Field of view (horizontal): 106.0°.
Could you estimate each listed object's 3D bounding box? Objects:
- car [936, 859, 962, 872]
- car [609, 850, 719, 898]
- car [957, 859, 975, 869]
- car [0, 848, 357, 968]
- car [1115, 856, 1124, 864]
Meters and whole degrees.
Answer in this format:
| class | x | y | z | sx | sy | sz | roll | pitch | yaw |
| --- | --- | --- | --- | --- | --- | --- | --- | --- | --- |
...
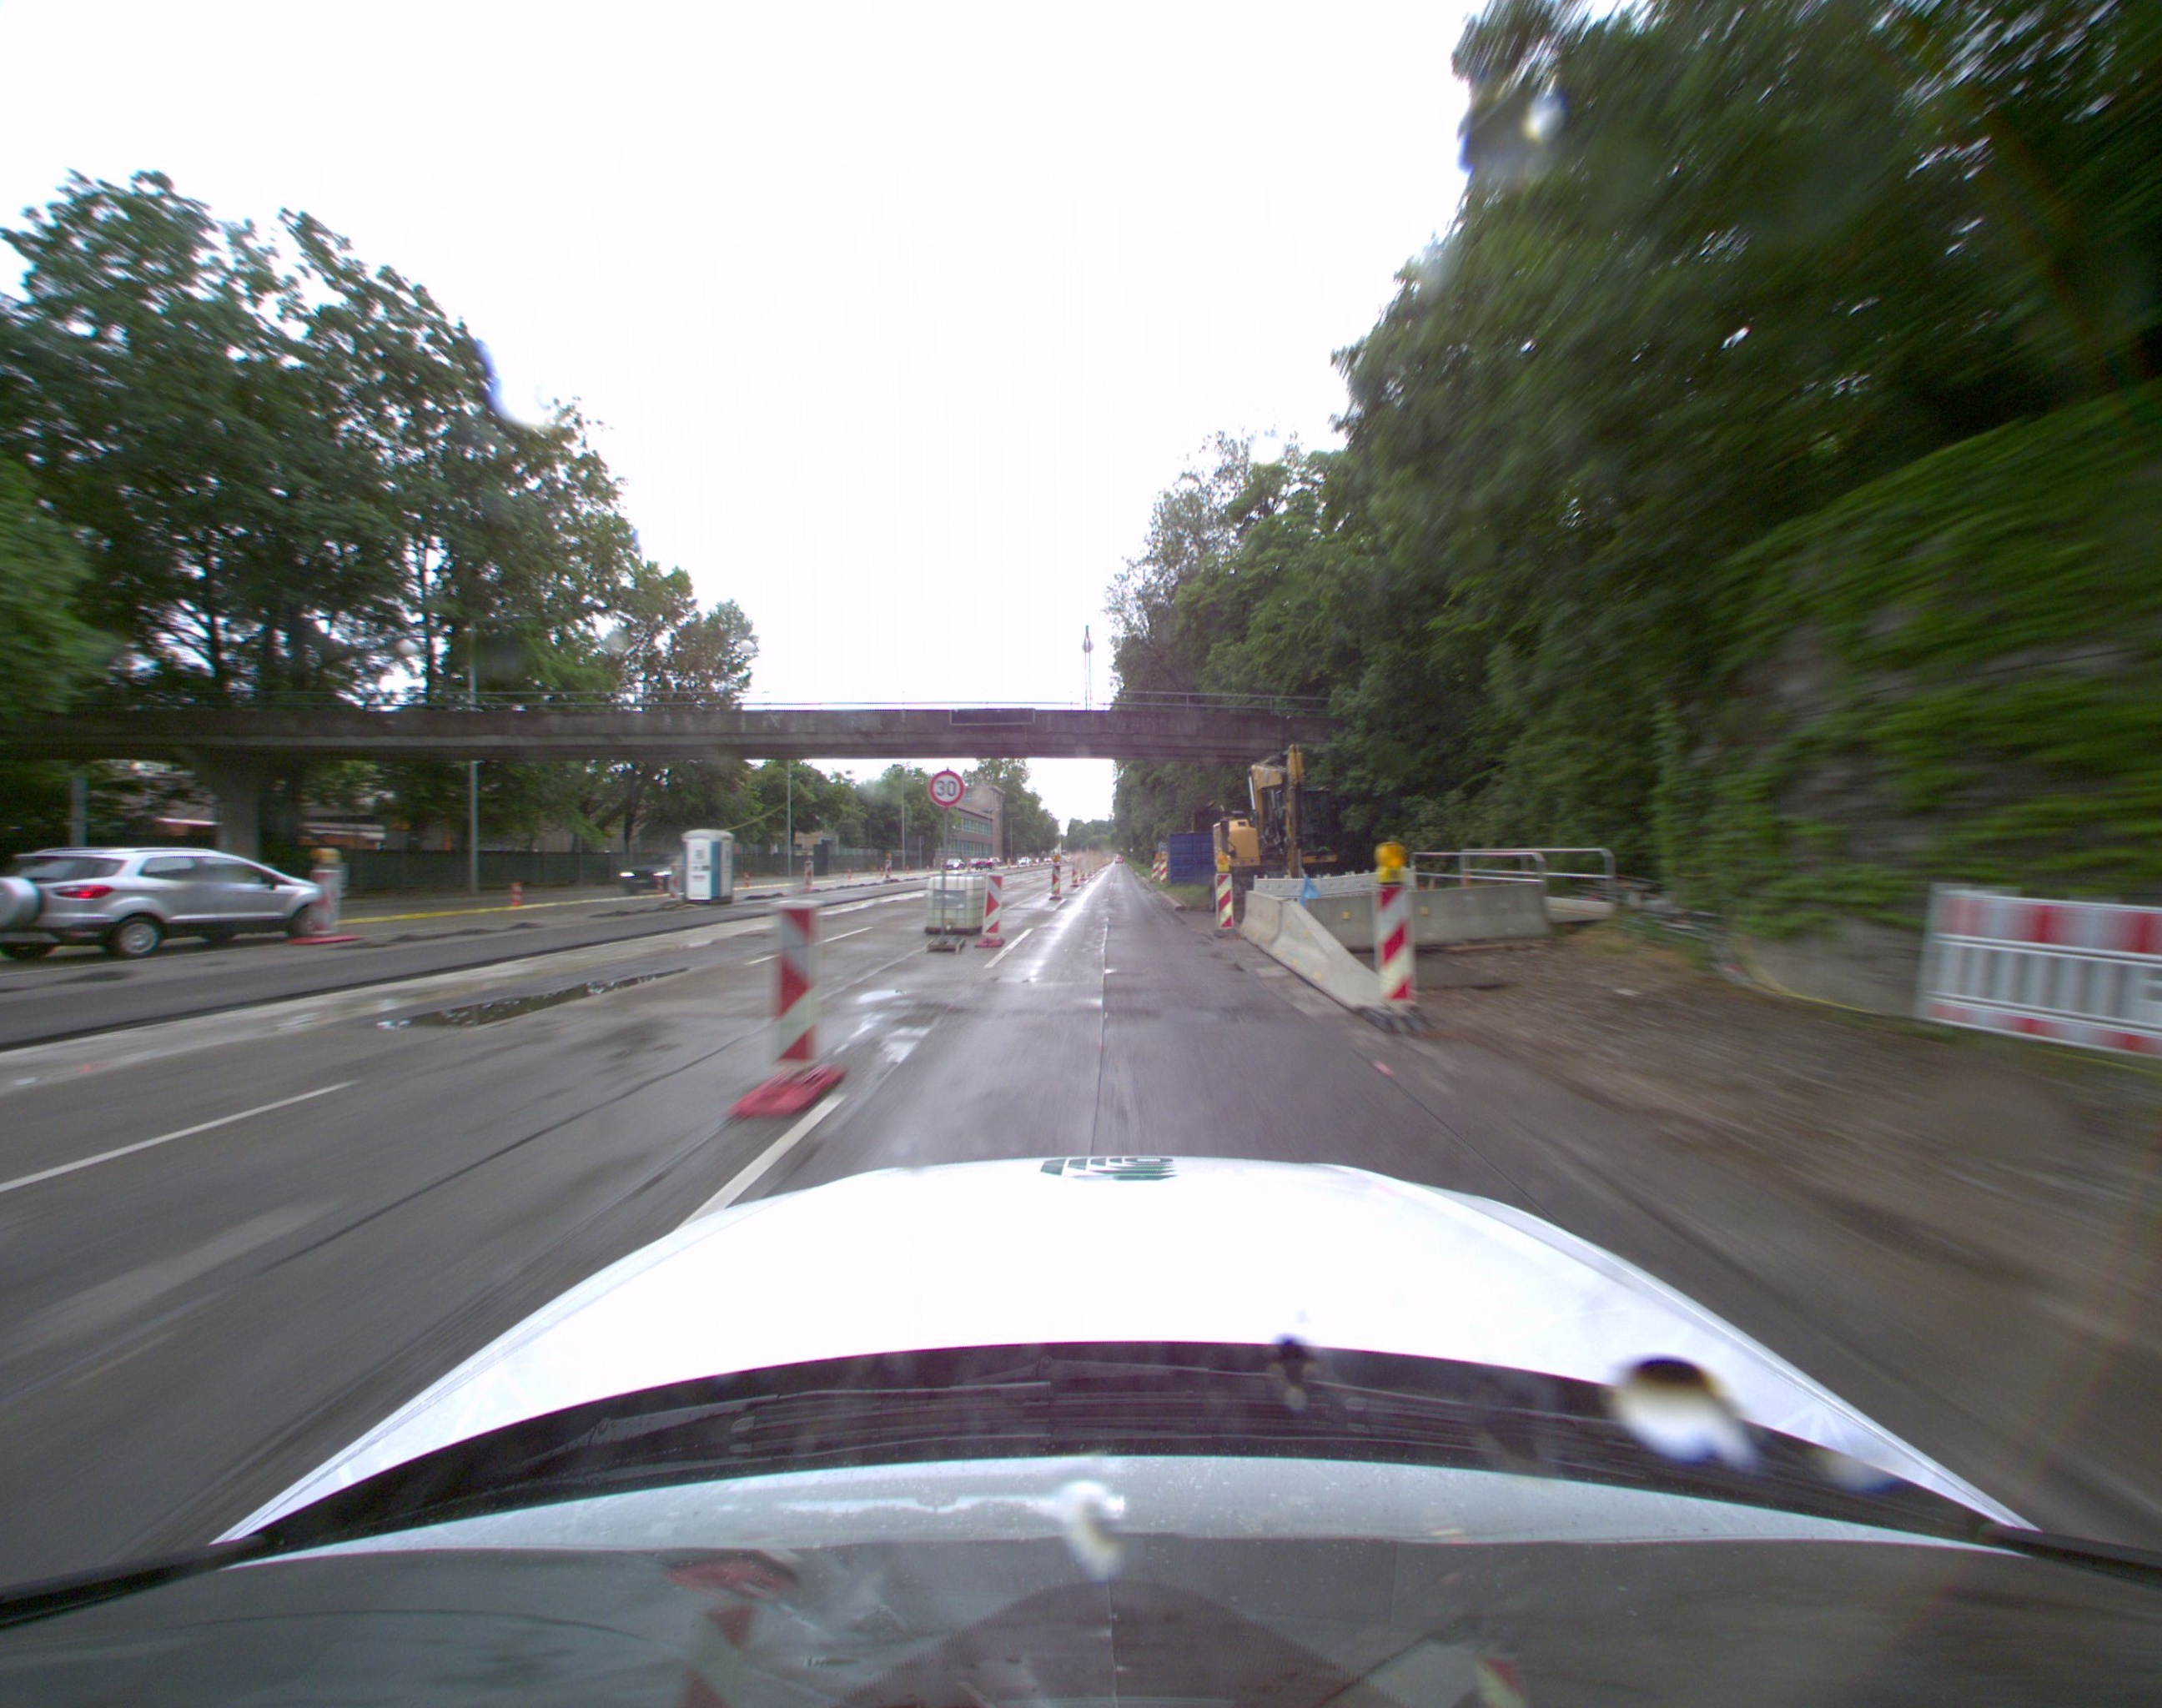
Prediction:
| class | x | y | z | sx | sy | sz | roll | pitch | yaw |
| --- | --- | --- | --- | --- | --- | --- | --- | --- | --- |
| car | -14.718 | 1.259 | 91.018 | 1.963 | 1.442 | 4.003 | -1 | -1 | 3 |
| car | -17.223 | 0.789 | 33.928 | 1.963 | 1.806 | 4.611 | -1 | -1 | 3 |
| car | -17.334 | 1.493 | 123.306 | 1.963 | 1.442 | 4.002 | -1 | -1 | 2 |
| car | -14.463 | 0.711 | 12.939 | 1.881 | 1.564 | 4.365 | 1 | 0 | 2 |
| car | 8.928 | 1.408 | 189.125 | 1.986 | 1.640 | 4.002 | -1 | -1 | 2 |
